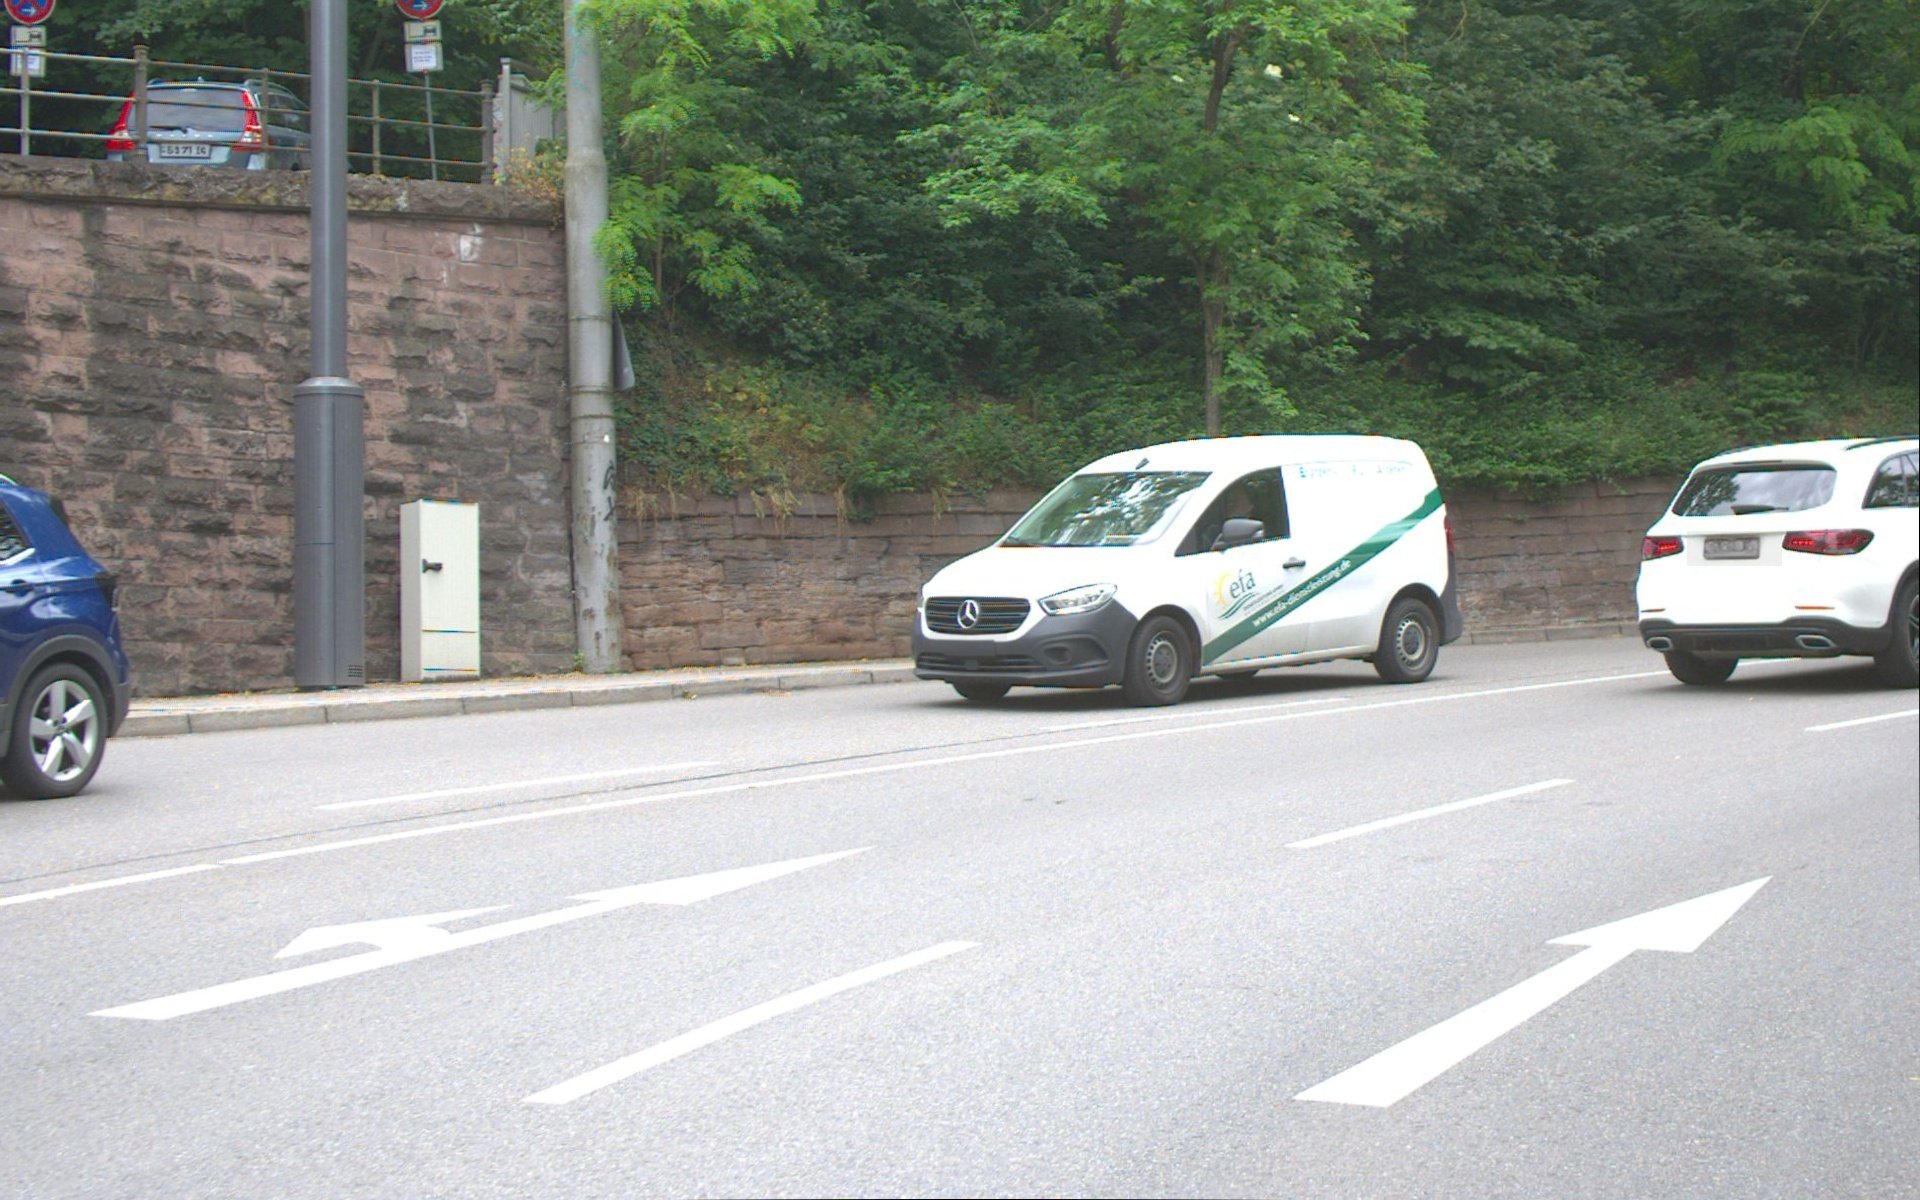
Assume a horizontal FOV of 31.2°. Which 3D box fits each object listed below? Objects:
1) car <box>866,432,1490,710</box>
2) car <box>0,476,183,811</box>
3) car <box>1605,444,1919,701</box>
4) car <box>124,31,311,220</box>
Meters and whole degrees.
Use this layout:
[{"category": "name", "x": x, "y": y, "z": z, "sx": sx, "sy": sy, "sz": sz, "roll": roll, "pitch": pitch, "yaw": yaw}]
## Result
[{"category": "car", "x": 1.632, "y": -0.286, "z": 24.199, "sx": 1.826, "sy": 1.758, "sz": 4.658, "roll": 2, "pitch": 3, "yaw": 43}, {"category": "car", "x": -5.473, "y": 0.189, "z": 15.252, "sx": 1.728, "sy": 1.522, "sz": 4.196, "roll": 2, "pitch": 2, "yaw": 25}, {"category": "car", "x": 6.577, "y": -0.273, "z": 23.867, "sx": 1.863, "sy": 1.600, "sz": 4.659, "roll": 0, "pitch": 3, "yaw": 44}, {"category": "car", "x": -7.667, "y": -4.878, "z": 35.736, "sx": 1.677, "sy": 1.375, "sz": 3.736, "roll": 1, "pitch": -1, "yaw": -9}]
